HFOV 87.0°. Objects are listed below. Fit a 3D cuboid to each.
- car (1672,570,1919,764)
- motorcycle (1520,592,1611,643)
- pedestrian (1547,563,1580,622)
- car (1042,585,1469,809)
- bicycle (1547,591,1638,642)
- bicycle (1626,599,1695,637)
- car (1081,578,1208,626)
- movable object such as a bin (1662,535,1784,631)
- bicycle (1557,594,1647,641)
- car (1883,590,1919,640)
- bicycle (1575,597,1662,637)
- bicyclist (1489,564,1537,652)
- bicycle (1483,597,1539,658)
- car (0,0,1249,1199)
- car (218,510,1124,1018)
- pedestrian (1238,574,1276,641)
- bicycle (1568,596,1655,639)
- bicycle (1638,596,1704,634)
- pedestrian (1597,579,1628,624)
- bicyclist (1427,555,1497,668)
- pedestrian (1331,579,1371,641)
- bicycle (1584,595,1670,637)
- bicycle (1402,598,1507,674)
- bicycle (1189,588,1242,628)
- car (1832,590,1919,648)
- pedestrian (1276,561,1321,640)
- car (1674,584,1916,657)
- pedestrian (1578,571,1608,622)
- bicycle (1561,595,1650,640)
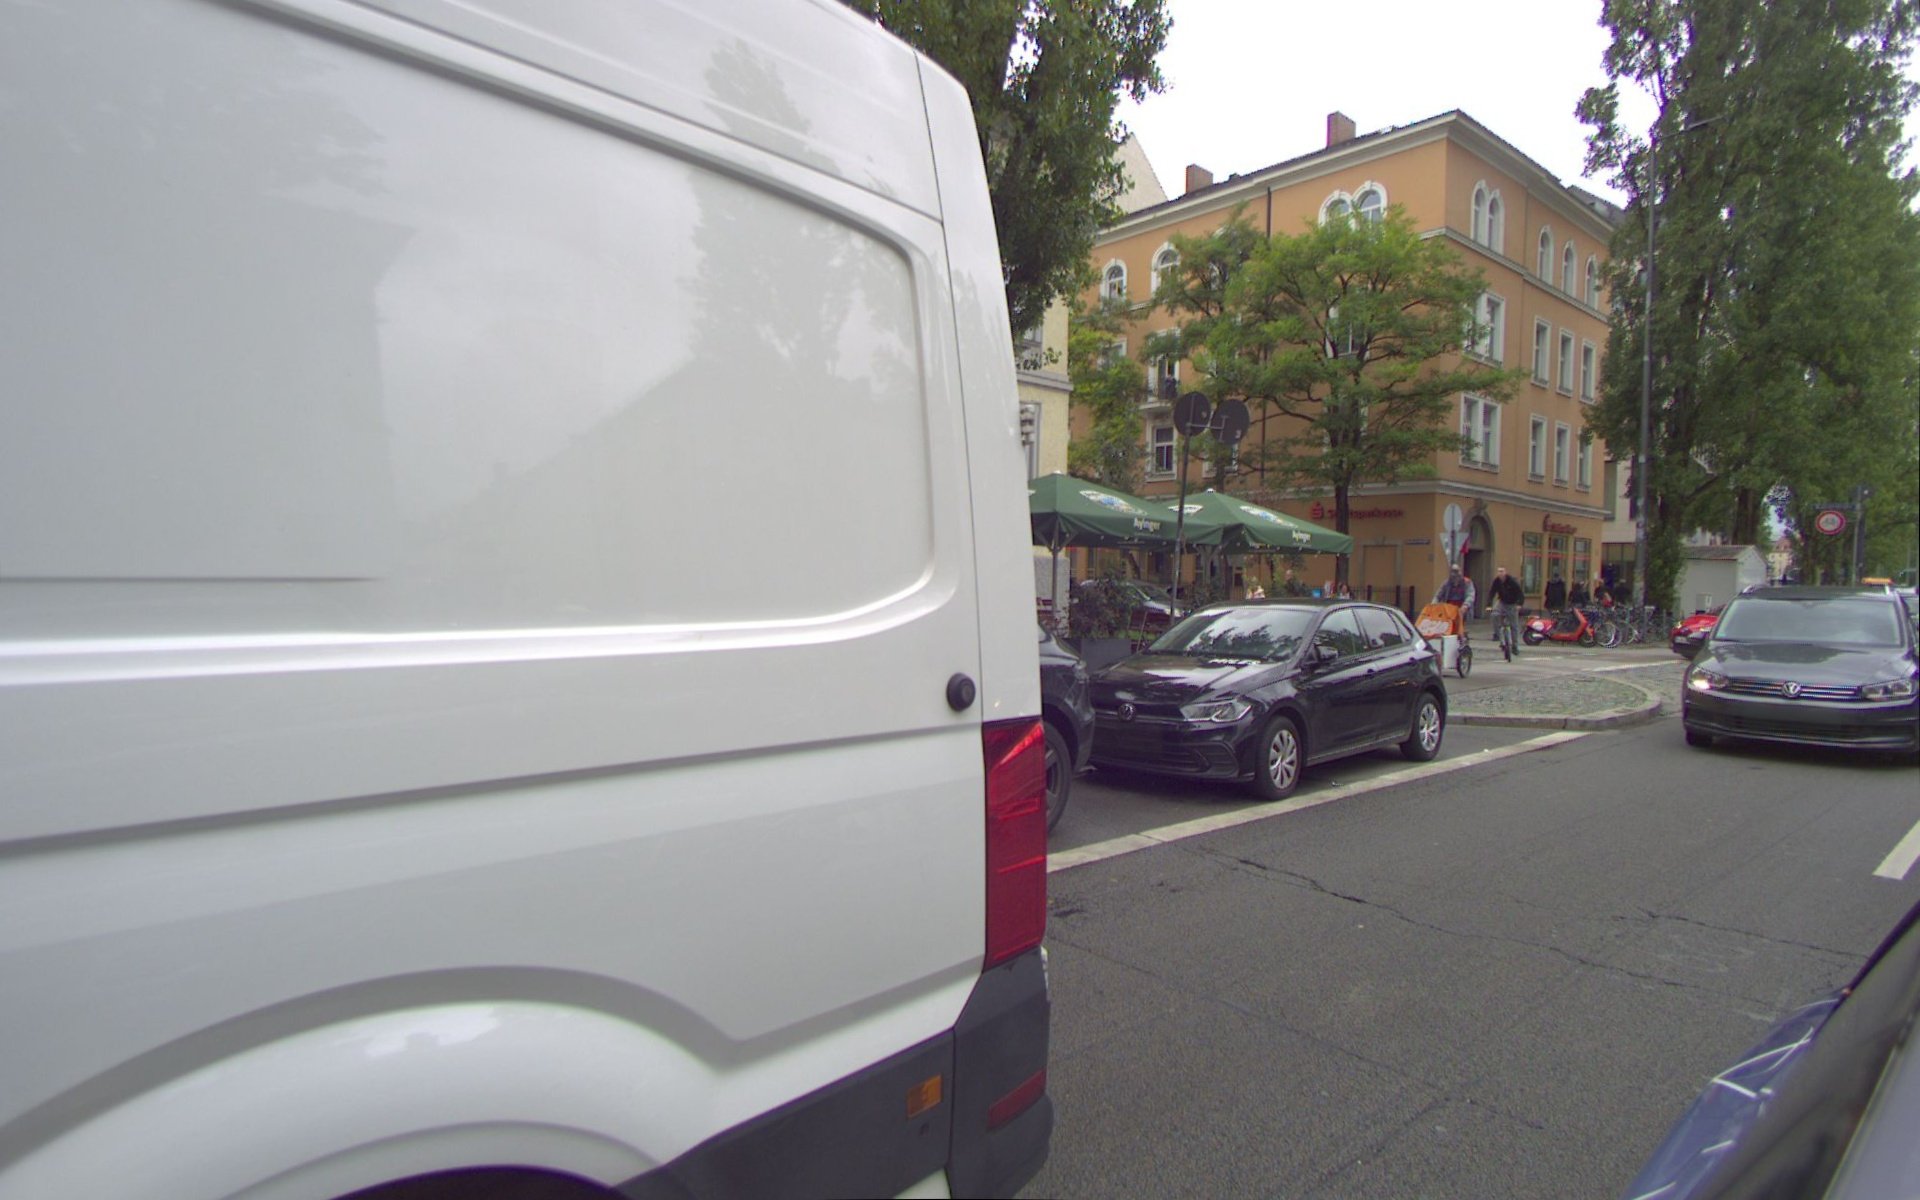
[{"bbox_3d":[8.999,0.544,10.386,4.120,1.611,1.881,0,1,-42],"label":"car"},{"bbox_3d":[15.602,0.429,26.129,1.939,1.236,0.510,2,1,25],"label":"motorcycle"},{"bbox_3d":[20.740,-0.264,34.771,0.837,1.973,0.789,0,0,43],"label":"pedestrian"},{"bbox_3d":[2.641,0.621,8.554,3.884,1.434,1.696,0,1,-43],"label":"car"},{"bbox_3d":[16.533,0.413,26.496,0.551,1.255,1.945,0,1,-39],"label":"bicycle"},{"bbox_3d":[20.328,0.507,29.380,1.597,1.022,0.337,2,1,43],"label":"bicycle"},{"bbox_3d":[6.258,0.049,34.594,1.873,1.539,3.993,-1,1,-41],"label":"car"},{"bbox_3d":[27.153,-0.612,35.974,4.463,3.175,2.445,0,3,-41],"label":"movable object such as a bin"},{"bbox_3d":[17.029,0.445,26.888,0.551,1.151,1.945,0,1,-39],"label":"bicycle"},{"bbox_3d":[33.152,0.506,34.673,4.421,1.634,1.787,0,1,-42],"label":"car"},{"bbox_3d":[18.401,0.470,28.304,0.551,1.022,1.945,0,2,-39],"label":"bicycle"},{"bbox_3d":[11.112,0.149,20.331,0.737,1.708,0.739,2,1,36],"label":"bicyclist"},{"bbox_3d":[11.096,0.515,20.336,0.733,1.134,2.075,2,1,35],"label":"bicycle"},{"bbox_3d":[-2.667,0.140,0.441,6.611,2.524,2.067,0,1,-41],"label":"car"},{"bbox_3d":[-1.200,0.512,5.456,4.371,1.658,1.805,0,1,-42],"label":"car"},{"bbox_3d":[7.247,0.176,24.707,0.564,1.590,0.699,0,0,-38],"label":"pedestrian"},{"bbox_3d":[17.950,0.469,27.919,0.551,1.089,1.945,0,2,-39],"label":"bicycle"},{"bbox_3d":[21.572,0.440,30.727,1.593,1.098,0.319,2,1,28],"label":"bicycle"},{"bbox_3d":[23.146,0.053,35.906,0.603,1.590,0.746,0,0,-38],"label":"pedestrian"},{"bbox_3d":[8.232,0.169,16.595,0.656,1.779,0.829,0,1,-43],"label":"bicyclist"},{"bbox_3d":[10.127,0.245,26.225,0.651,1.590,0.746,0,0,-38],"label":"pedestrian"},{"bbox_3d":[18.956,0.438,28.787,0.551,1.098,1.945,0,2,-39],"label":"bicycle"},{"bbox_3d":[8.081,0.544,16.487,2.067,1.134,0.885,0,2,-44],"label":"bicycle"},{"bbox_3d":[9.290,0.269,36.877,0.551,1.389,1.945,0,0,-39],"label":"bicycle"},{"bbox_3d":[27.508,0.517,30.124,4.421,1.572,1.787,0,1,-42],"label":"car"},{"bbox_3d":[7.854,0.004,23.477,0.718,1.788,0.699,0,0,-38],"label":"pedestrian"},{"bbox_3d":[17.486,0.417,21.281,3.923,1.451,1.619,0,0,-6],"label":"car"},{"bbox_3d":[21.488,-0.120,34.367,0.743,1.682,0.759,0,0,42],"label":"pedestrian"},{"bbox_3d":[17.444,0.457,27.386,0.551,1.102,1.945,0,2,-39],"label":"bicycle"}]
